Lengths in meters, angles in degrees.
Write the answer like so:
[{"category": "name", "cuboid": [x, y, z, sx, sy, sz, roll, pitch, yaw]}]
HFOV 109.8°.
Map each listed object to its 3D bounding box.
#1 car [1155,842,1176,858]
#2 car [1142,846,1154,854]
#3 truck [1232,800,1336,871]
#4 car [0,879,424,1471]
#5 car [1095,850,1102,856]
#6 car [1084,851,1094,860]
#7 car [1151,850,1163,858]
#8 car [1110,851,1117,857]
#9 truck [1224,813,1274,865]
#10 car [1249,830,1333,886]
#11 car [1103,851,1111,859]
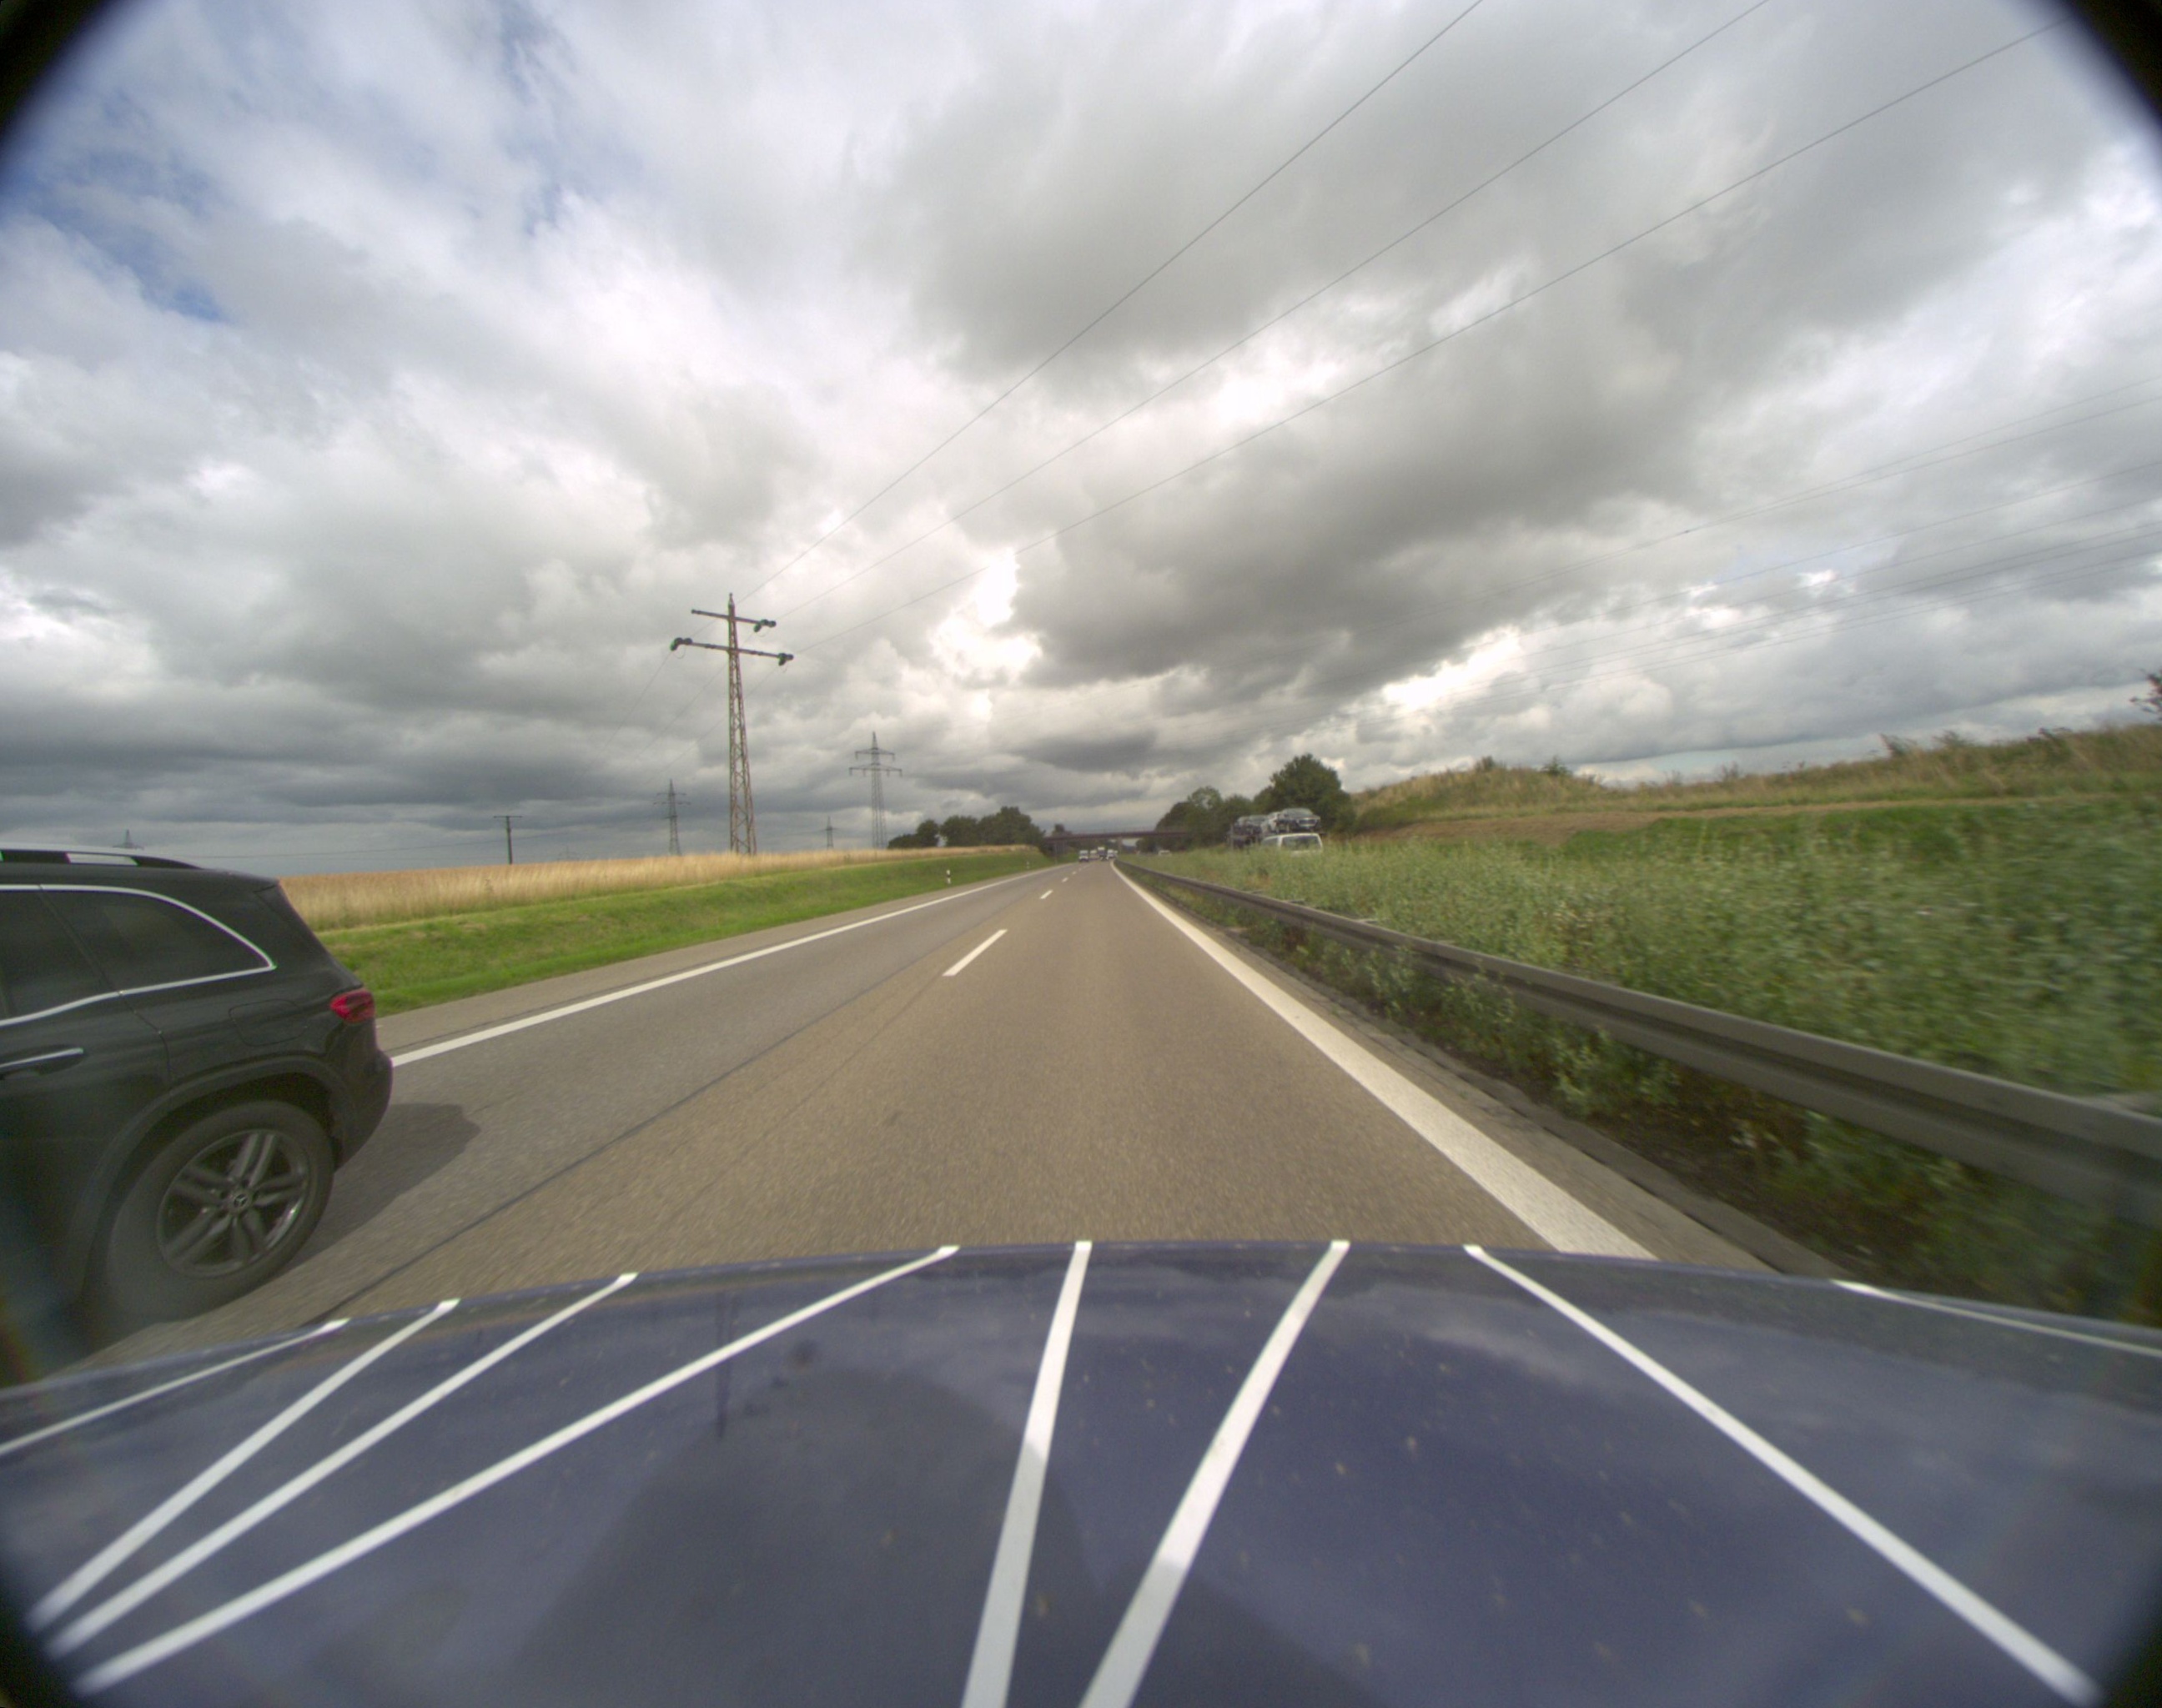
[{"category": "car", "cuboid": [10.039, -0.505, 90.194, 1.998, 1.674, 4.000, -5, 1, 1]}, {"category": "car", "cuboid": [13.107, -0.751, 148.928, 1.998, 1.448, 4.443, -2, 1, 2]}, {"category": "truck", "cuboid": [13.213, -1.075, 51.679, 2.730, 3.913, 17.402, -2, 0, 1]}, {"category": "car", "cuboid": [-3.991, 0.964, 1.286, 1.838, 1.600, 4.360, -2, 1, 2]}, {"category": "car", "cuboid": [5.079, -0.328, 221.821, 1.833, 1.849, 5.790, -1, 0, 1]}, {"category": "car", "cuboid": [1.756, 0.384, 167.932, 1.998, 1.812, 4.342, -2, 0, 1]}, {"category": "car", "cuboid": [15.770, -0.068, 158.356, 1.933, 1.566, 5.621, -3, 1, 0]}, {"category": "car", "cuboid": [10.682, 0.009, 248.748, 1.999, 1.698, 3.999, -2, 0, 0]}, {"category": "truck", "cuboid": [13.459, -1.164, 61.216, 2.730, 3.913, 5.987, -2, 0, 1]}, {"category": "car", "cuboid": [8.399, 0.129, 30.846, 1.998, 2.002, 5.032, -2, 1, 1]}, {"category": "car", "cuboid": [6.399, 0.232, 187.152, 1.998, 1.695, 4.663, -4, -1, 1]}]
